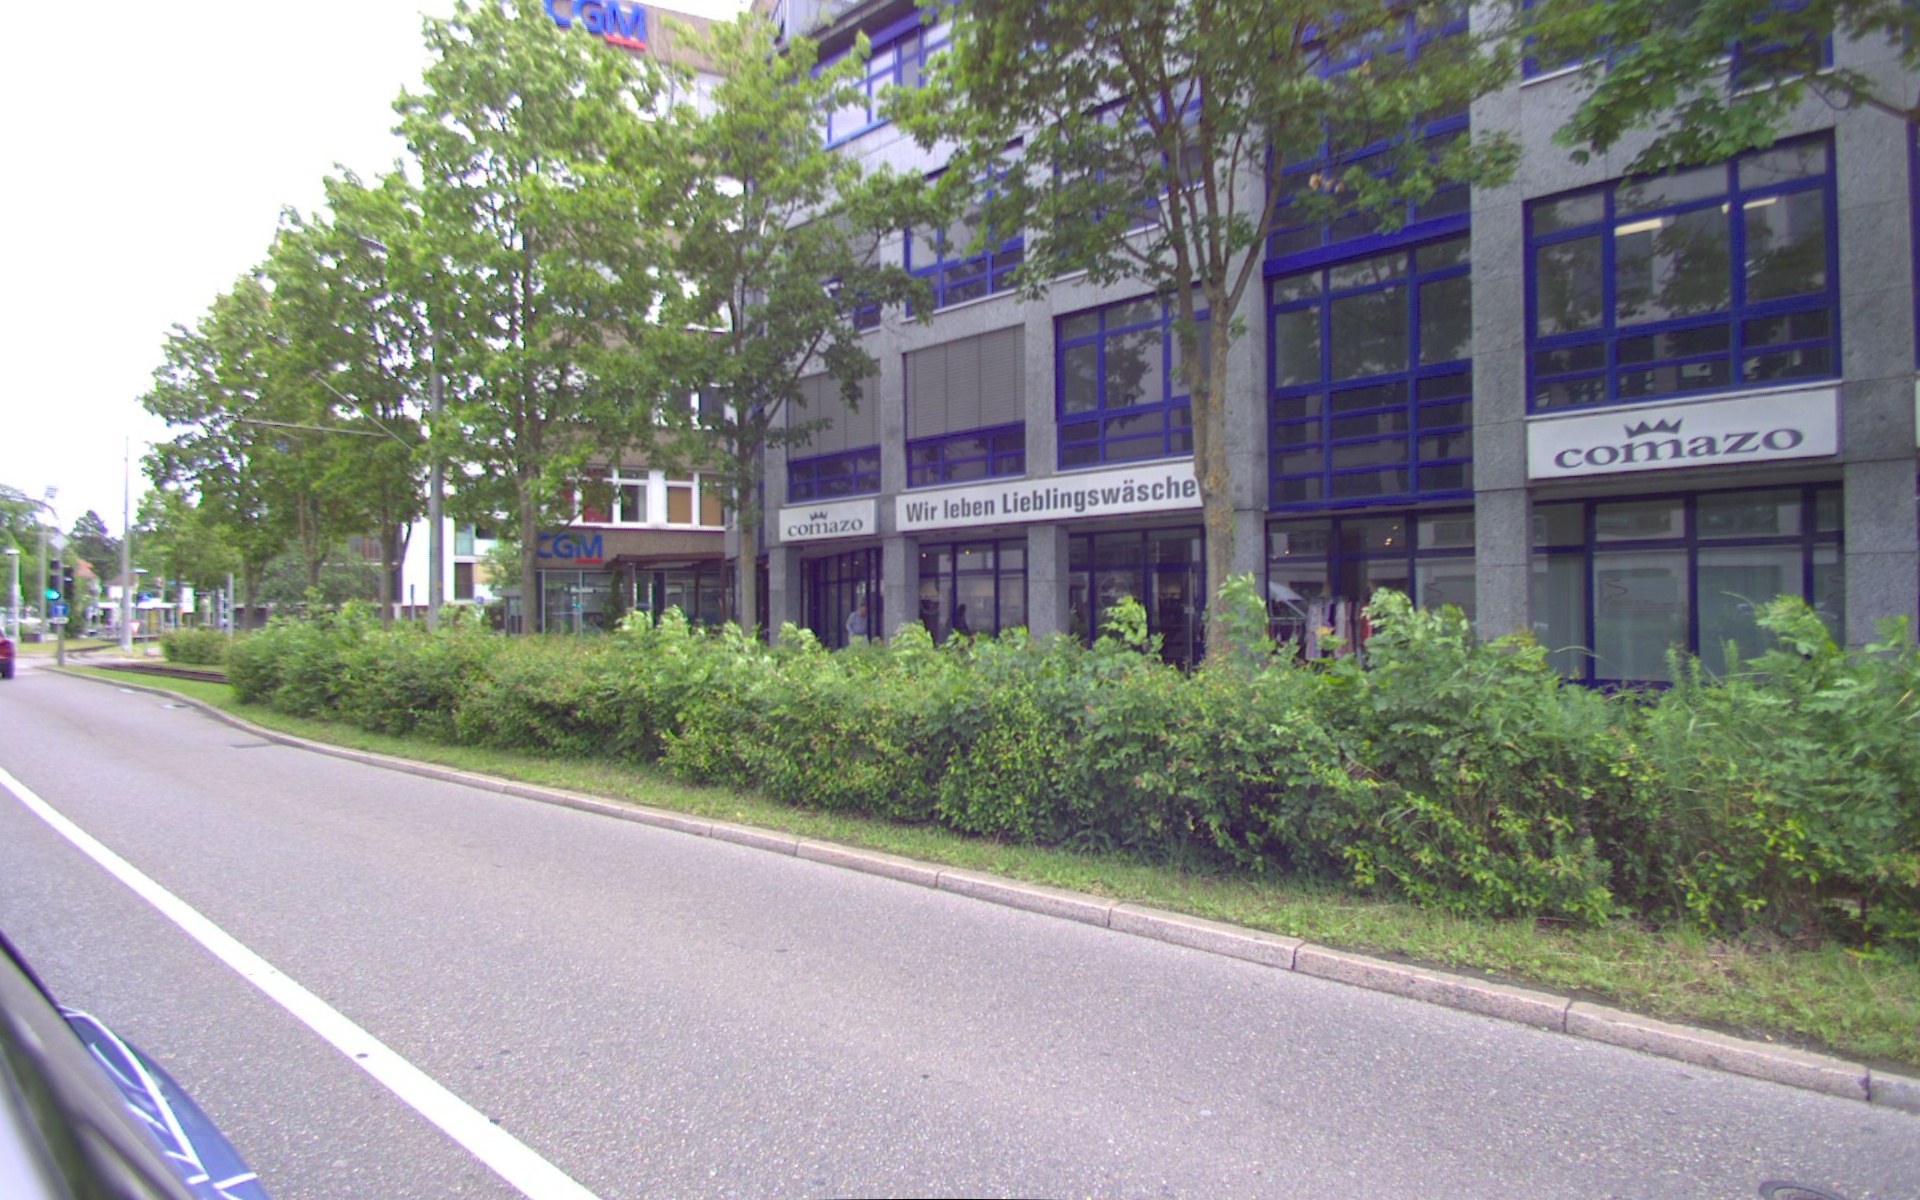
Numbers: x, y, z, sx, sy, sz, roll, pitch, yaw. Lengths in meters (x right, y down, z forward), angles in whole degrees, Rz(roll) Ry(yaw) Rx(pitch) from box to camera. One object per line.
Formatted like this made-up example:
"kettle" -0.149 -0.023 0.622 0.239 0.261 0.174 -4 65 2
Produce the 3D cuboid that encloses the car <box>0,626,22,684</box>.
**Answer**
"car" -28.202 1.531 28.806 4.133 1.601 1.732 -2 -3 41

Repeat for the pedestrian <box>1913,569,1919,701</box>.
"pedestrian" 11.212 0.383 11.366 0.679 1.493 0.690 -2 0 41

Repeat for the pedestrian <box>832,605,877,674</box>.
"pedestrian" -2.354 0.864 22.603 0.679 1.493 0.690 -2 0 41

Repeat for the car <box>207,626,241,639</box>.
"car" -110.119 4.842 151.365 1.975 1.913 3.993 -1 0 6
